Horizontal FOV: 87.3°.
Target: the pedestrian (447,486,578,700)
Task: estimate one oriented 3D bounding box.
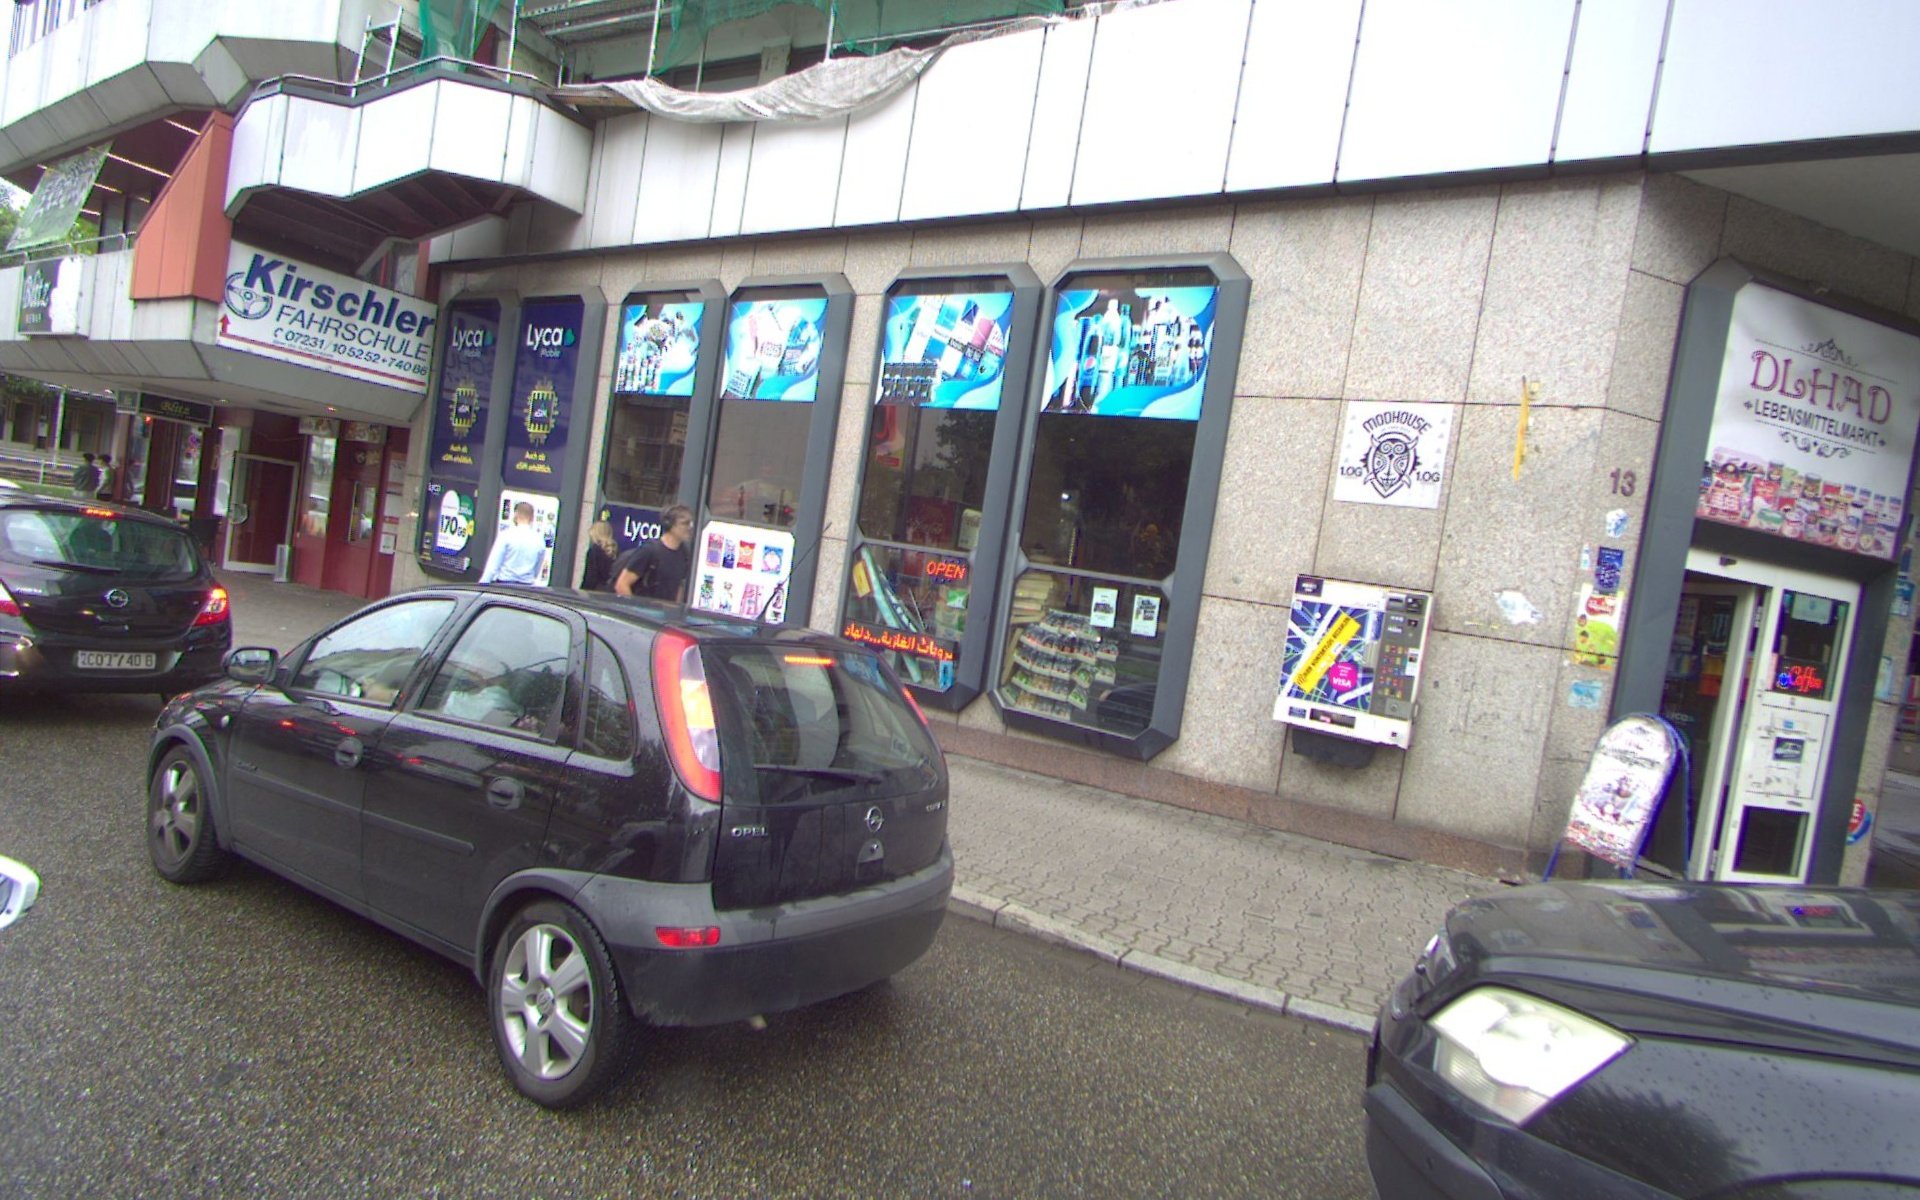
[{"bbox_3d":[-4.315,-0.050,9.730,0.629,1.957,0.737,6,-1,31],"label":"pedestrian"}]

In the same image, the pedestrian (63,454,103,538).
[{"bbox_3d":[-18.619,-2.206,21.360,0.443,1.704,0.426,6,1,30],"label":"pedestrian"}]

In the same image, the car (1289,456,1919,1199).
[{"bbox_3d":[2.812,0.946,1.442,4.095,1.786,1.763,8,-1,32],"label":"car"}]

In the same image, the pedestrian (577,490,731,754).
[{"bbox_3d":[-2.290,0.137,7.512,0.763,1.841,0.739,7,4,43],"label":"pedestrian"}]

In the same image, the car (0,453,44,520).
[{"bbox_3d":[-24.127,-2.967,23.033,1.607,1.503,4.310,9,-1,18],"label":"car"}]

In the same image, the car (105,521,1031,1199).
[{"bbox_3d":[-1.733,0.648,4.098,3.563,1.446,1.609,8,-1,33],"label":"car"}]

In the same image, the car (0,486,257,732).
[{"bbox_3d":[-7.097,-0.109,7.340,3.776,1.446,1.620,8,-1,29],"label":"car"}]

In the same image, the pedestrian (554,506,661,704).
[{"bbox_3d":[-3.677,0.047,10.514,0.629,1.961,0.736,6,4,31],"label":"pedestrian"}]

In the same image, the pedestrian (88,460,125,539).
[{"bbox_3d":[-18.672,-2.194,22.004,0.496,1.660,0.396,6,1,32],"label":"pedestrian"}]
